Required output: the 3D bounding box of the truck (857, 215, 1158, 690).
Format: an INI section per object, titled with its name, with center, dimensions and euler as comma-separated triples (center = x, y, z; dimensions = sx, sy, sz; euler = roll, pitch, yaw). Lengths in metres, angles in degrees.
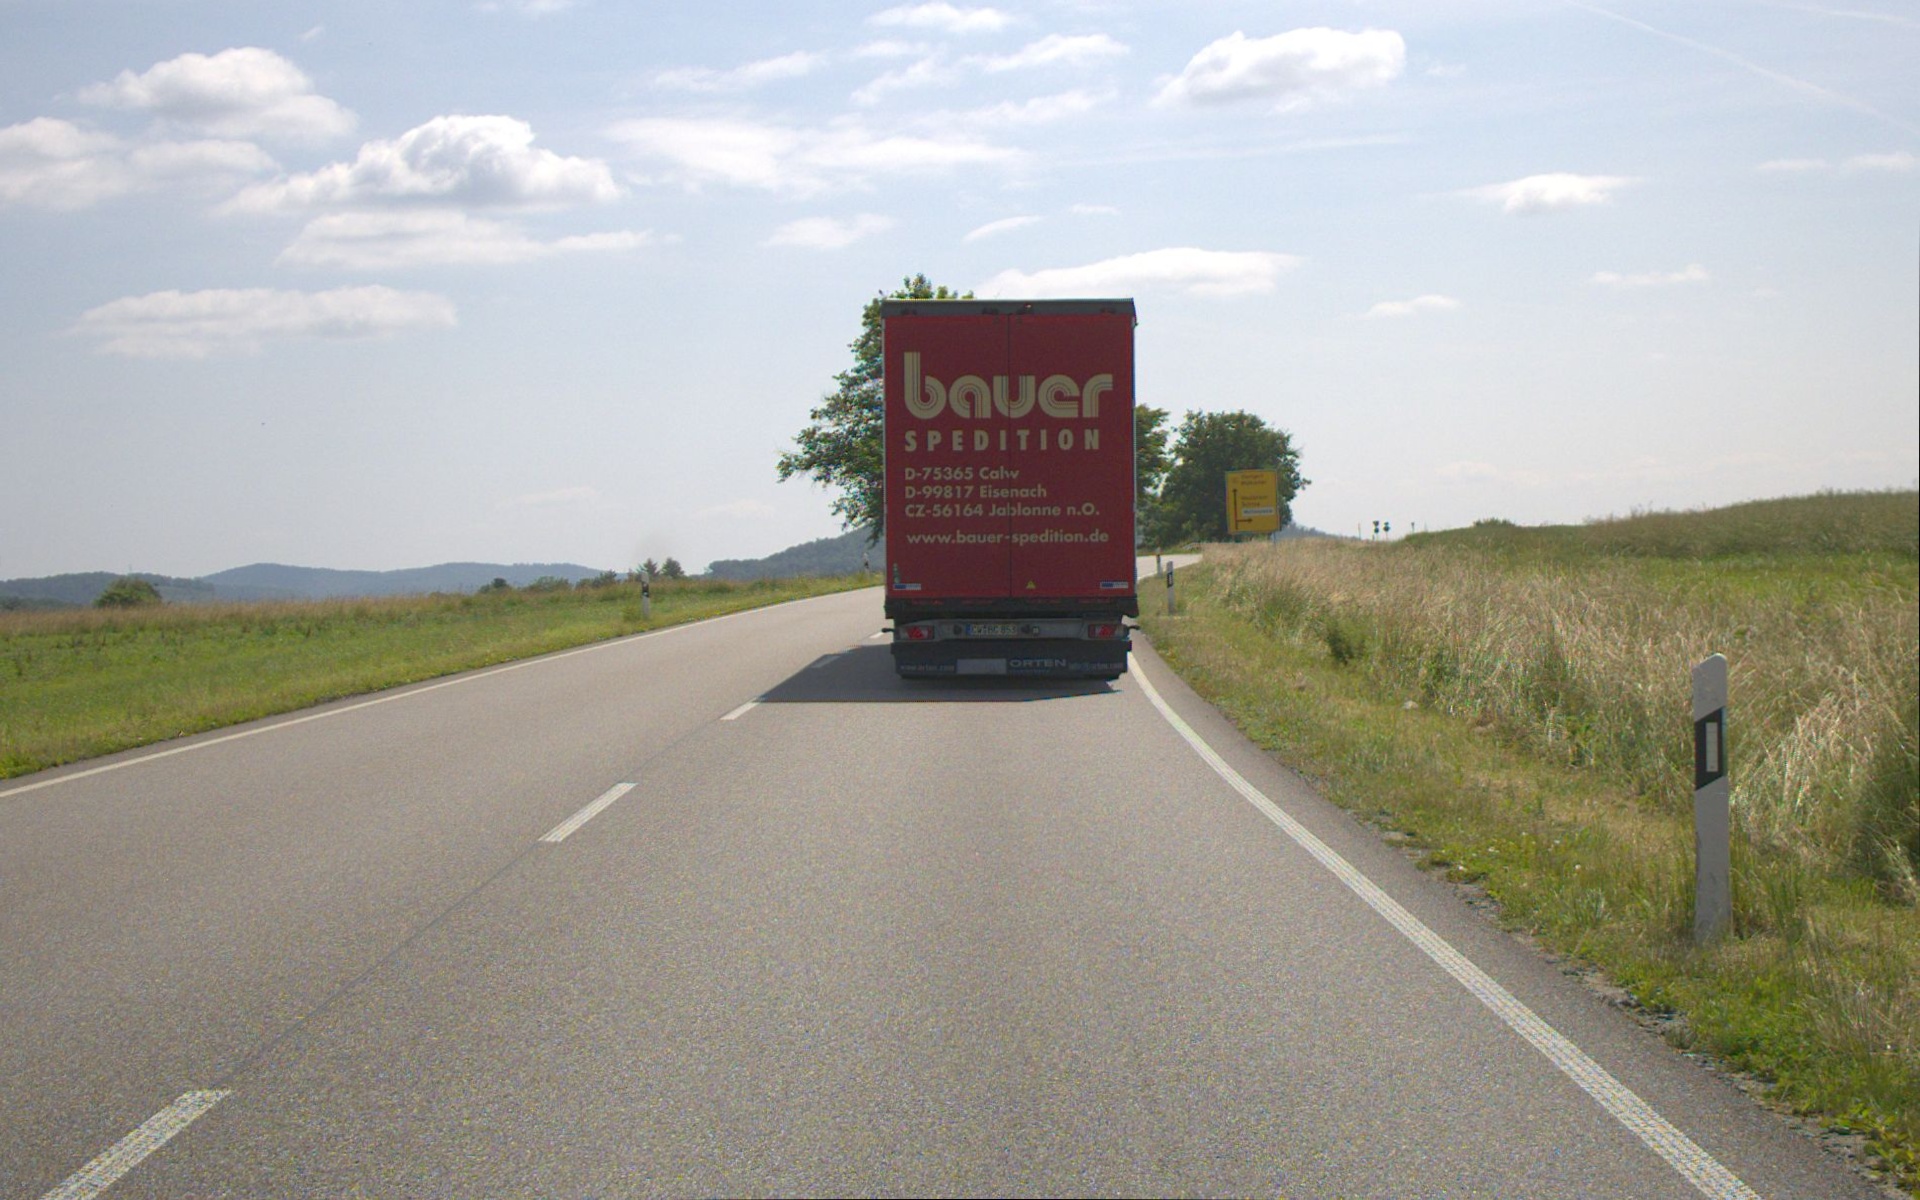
[truck]
center = 0.475, -1.601, 38.824
dimensions = 2.975, 4.697, 9.367
euler = 0, 2, 0
